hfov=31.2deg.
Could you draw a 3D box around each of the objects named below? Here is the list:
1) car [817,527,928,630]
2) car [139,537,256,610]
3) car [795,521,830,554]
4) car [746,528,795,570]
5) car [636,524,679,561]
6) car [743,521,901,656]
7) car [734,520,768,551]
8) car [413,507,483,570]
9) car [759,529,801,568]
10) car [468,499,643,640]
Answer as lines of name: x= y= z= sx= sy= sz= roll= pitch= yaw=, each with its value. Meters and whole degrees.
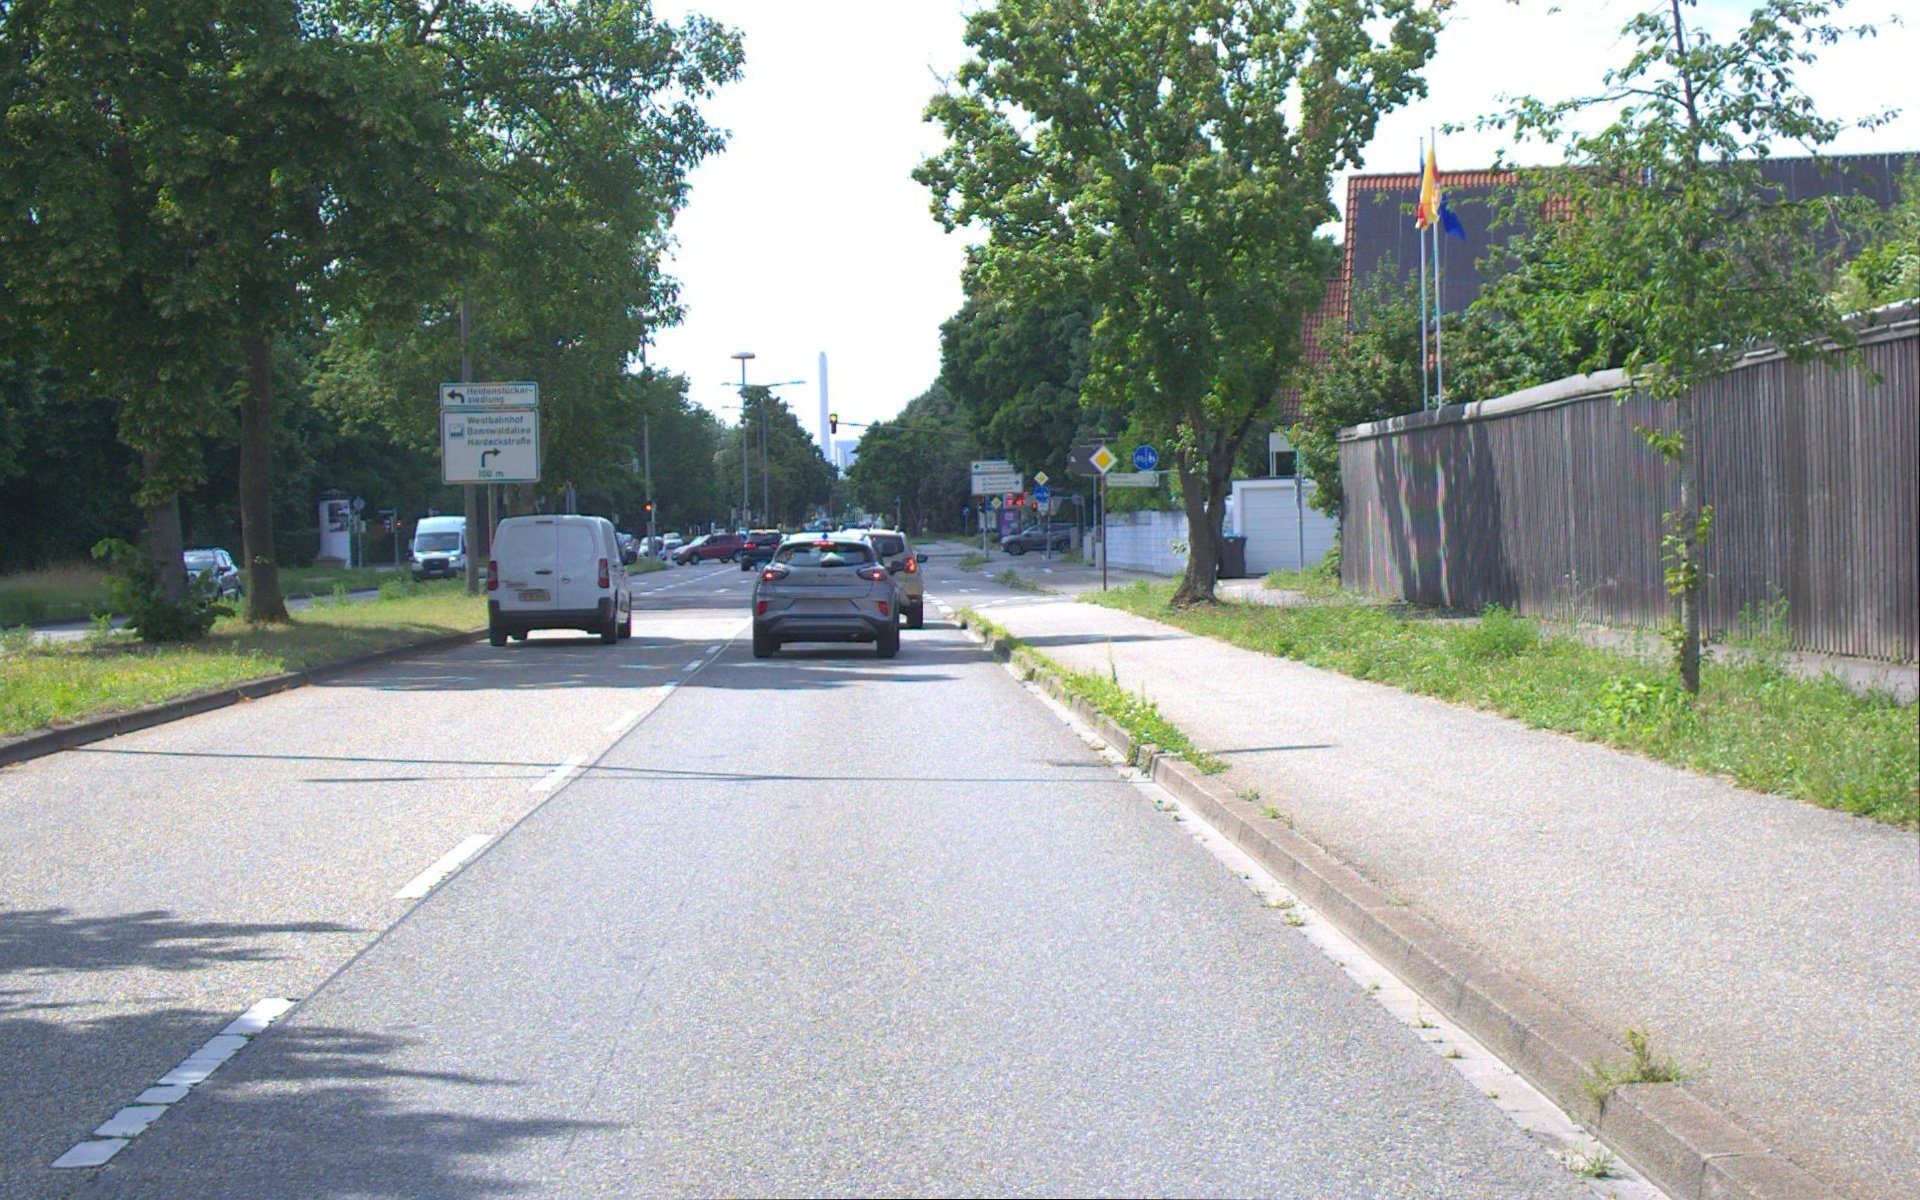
car: x=-1.461 y=-0.395 z=57.824 sx=1.779 sy=1.637 sz=4.197 roll=-1 pitch=1 yaw=-1
car: x=-18.822 y=-0.679 z=85.023 sx=1.993 sy=1.700 sz=4.194 roll=-1 pitch=1 yaw=-1
car: x=-7.954 y=-3.393 z=185.799 sx=1.779 sy=1.761 sz=4.000 roll=-1 pitch=1 yaw=-1
car: x=-8.169 y=-2.215 z=148.693 sx=1.941 sy=1.761 sz=4.146 roll=-1 pitch=1 yaw=-1
car: x=-14.730 y=-2.798 z=167.359 sx=1.779 sy=1.761 sz=4.126 roll=-1 pitch=1 yaw=-1
car: x=-1.702 y=-0.182 z=43.452 sx=1.875 sy=1.583 sz=4.185 roll=-1 pitch=1 yaw=-1
car: x=-12.257 y=-3.789 z=202.024 sx=1.779 sy=1.761 sz=4.151 roll=-1 pitch=1 yaw=-1
car: x=-20.113 y=-2.420 z=135.200 sx=2.045 sy=2.423 sz=5.250 roll=-1 pitch=1 yaw=-1
car: x=-8.341 y=-2.409 z=159.372 sx=1.779 sy=1.761 sz=4.169 roll=-1 pitch=1 yaw=-1
car: x=-5.789 y=-0.481 z=49.668 sx=2.066 sy=1.905 sz=4.647 roll=-1 pitch=1 yaw=-1
